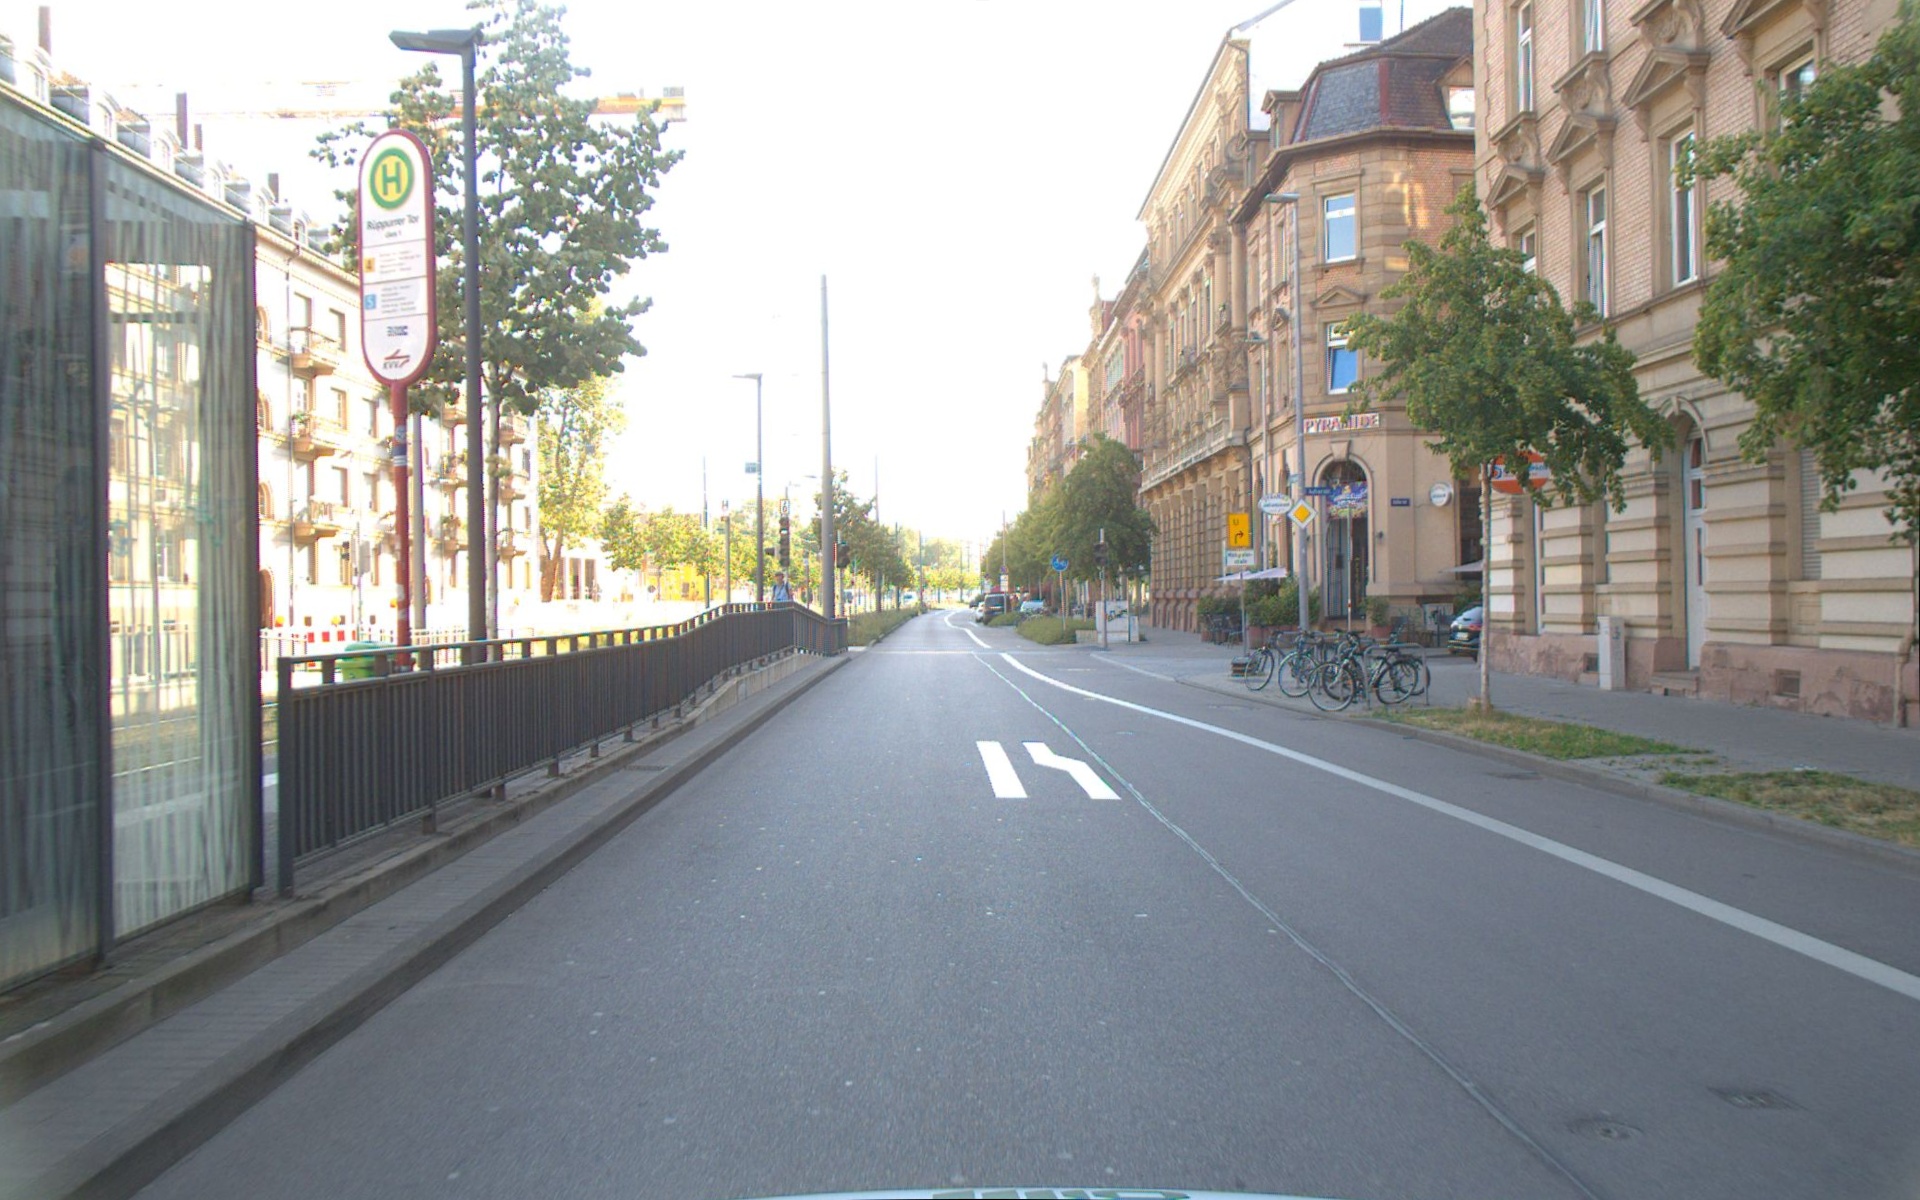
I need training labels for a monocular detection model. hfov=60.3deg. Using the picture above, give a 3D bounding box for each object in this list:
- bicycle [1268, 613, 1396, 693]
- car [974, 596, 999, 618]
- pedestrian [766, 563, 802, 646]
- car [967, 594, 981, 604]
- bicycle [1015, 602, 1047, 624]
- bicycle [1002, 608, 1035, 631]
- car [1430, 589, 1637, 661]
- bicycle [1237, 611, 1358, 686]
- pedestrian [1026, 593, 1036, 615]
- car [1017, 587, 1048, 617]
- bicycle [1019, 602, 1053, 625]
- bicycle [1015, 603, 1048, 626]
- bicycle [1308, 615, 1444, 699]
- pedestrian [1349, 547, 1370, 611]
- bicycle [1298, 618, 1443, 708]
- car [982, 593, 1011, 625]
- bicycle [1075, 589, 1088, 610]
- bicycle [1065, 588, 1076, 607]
[{"bbox_3d":[5.820,0.817,25.918,1.791,1.083,0.663,-4,1,-6],"label":"bicycle"},{"bbox_3d":[1.969,0.500,123.128,1.811,1.483,4.157,-1,1,1],"label":"car"},{"bbox_3d":[-3.587,0.103,33.799,0.641,1.671,0.867,-1,-1,-1],"label":"pedestrian"},{"bbox_3d":[2.217,-0.090,255.913,1.759,1.489,4.003,-1,0,6],"label":"car"},{"bbox_3d":[3.665,0.677,85.324,1.547,1.066,0.488,-3,0,-9],"label":"bicycle"},{"bbox_3d":[3.100,1.049,87.885,1.657,1.066,0.489,-5,0,-1],"label":"bicycle"},{"bbox_3d":[12.640,0.550,36.508,4.069,1.412,1.613,-2,-1,-13],"label":"car"},{"bbox_3d":[5.579,0.796,27.386,1.791,1.083,0.663,-4,1,-6],"label":"bicycle"},{"bbox_3d":[4.868,0.273,113.628,0.612,1.485,0.638,-1,0,-1],"label":"pedestrian"},{"bbox_3d":[4.090,0.107,93.346,1.603,1.511,4.213,-3,1,2],"label":"car"},{"bbox_3d":[3.904,0.681,84.791,1.660,1.066,0.488,-3,0,-9],"label":"bicycle"},{"bbox_3d":[3.612,0.713,83.495,1.547,1.066,0.488,-3,0,-9],"label":"bicycle"},{"bbox_3d":[6.164,0.834,24.540,1.791,1.083,0.663,-4,1,-6],"label":"bicycle"},{"bbox_3d":[11.154,-0.593,46.171,0.437,1.771,0.542,-1,0,27],"label":"pedestrian"},{"bbox_3d":[5.739,0.871,23.159,1.791,1.083,0.663,-4,1,-6],"label":"bicycle"},{"bbox_3d":[2.408,0.569,109.897,1.846,1.971,4.474,-1,1,1],"label":"car"},{"bbox_3d":[8.568,-0.014,116.461,0.647,1.427,2.352,-1,1,-2],"label":"bicycle"},{"bbox_3d":[8.551,-0.226,127.839,0.647,1.427,2.352,-1,1,-2],"label":"bicycle"}]
